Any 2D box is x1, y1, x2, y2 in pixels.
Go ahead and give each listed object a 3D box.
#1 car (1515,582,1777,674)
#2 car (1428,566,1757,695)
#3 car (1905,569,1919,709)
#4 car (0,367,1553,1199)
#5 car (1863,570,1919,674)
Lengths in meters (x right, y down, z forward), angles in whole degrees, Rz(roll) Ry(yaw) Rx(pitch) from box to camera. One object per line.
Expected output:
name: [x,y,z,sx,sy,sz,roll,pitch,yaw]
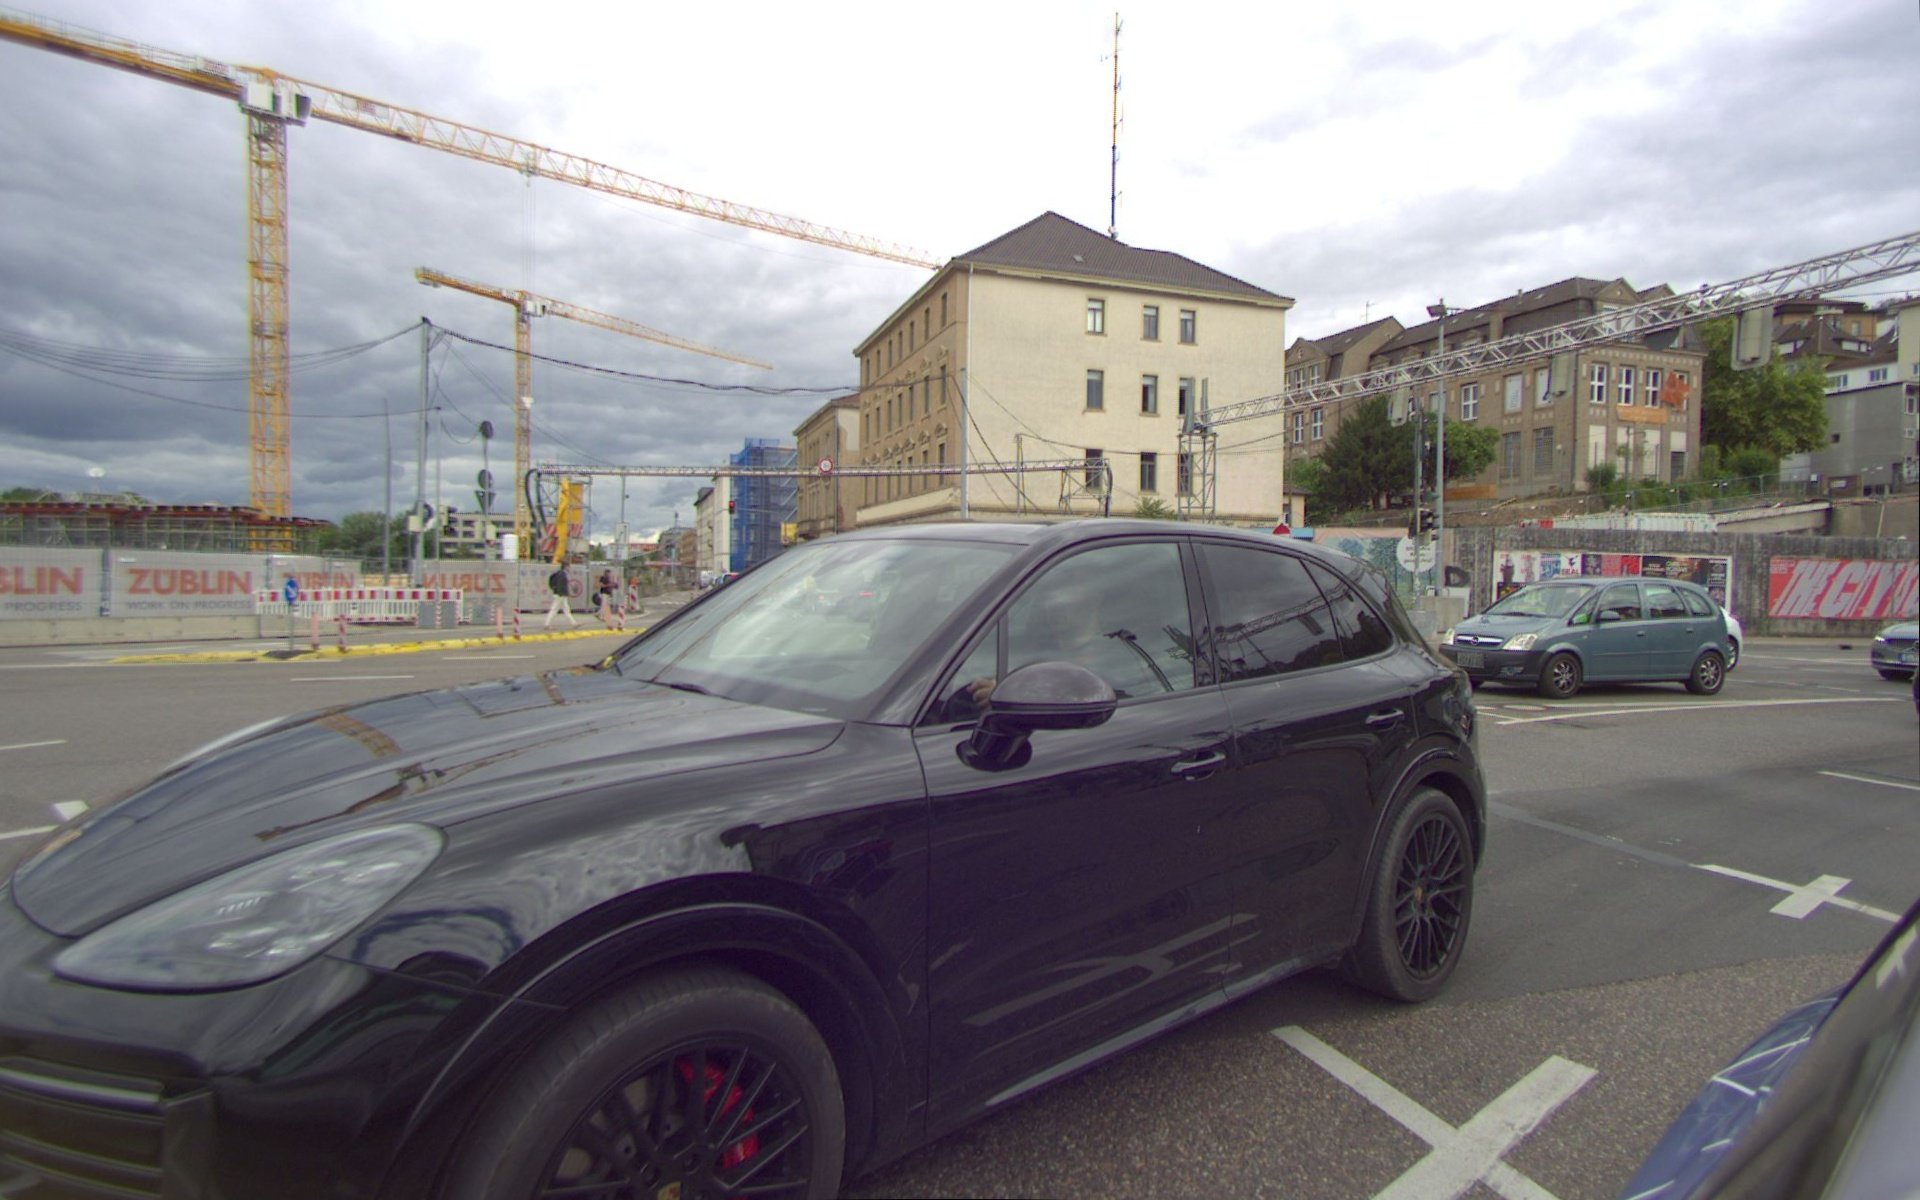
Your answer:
car: [12.002,0.430,17.745,4.001,1.433,1.696,-1,1,-18]
car: [8.660,0.332,13.924,3.872,1.593,1.696,-1,2,-17]
car: [12.567,0.459,10.904,4.326,1.488,1.738,0,1,-21]
car: [-0.047,0.500,3.242,4.527,1.668,1.955,-2,3,-40]
car: [17.096,0.374,16.023,4.584,1.598,1.916,1,1,-15]
